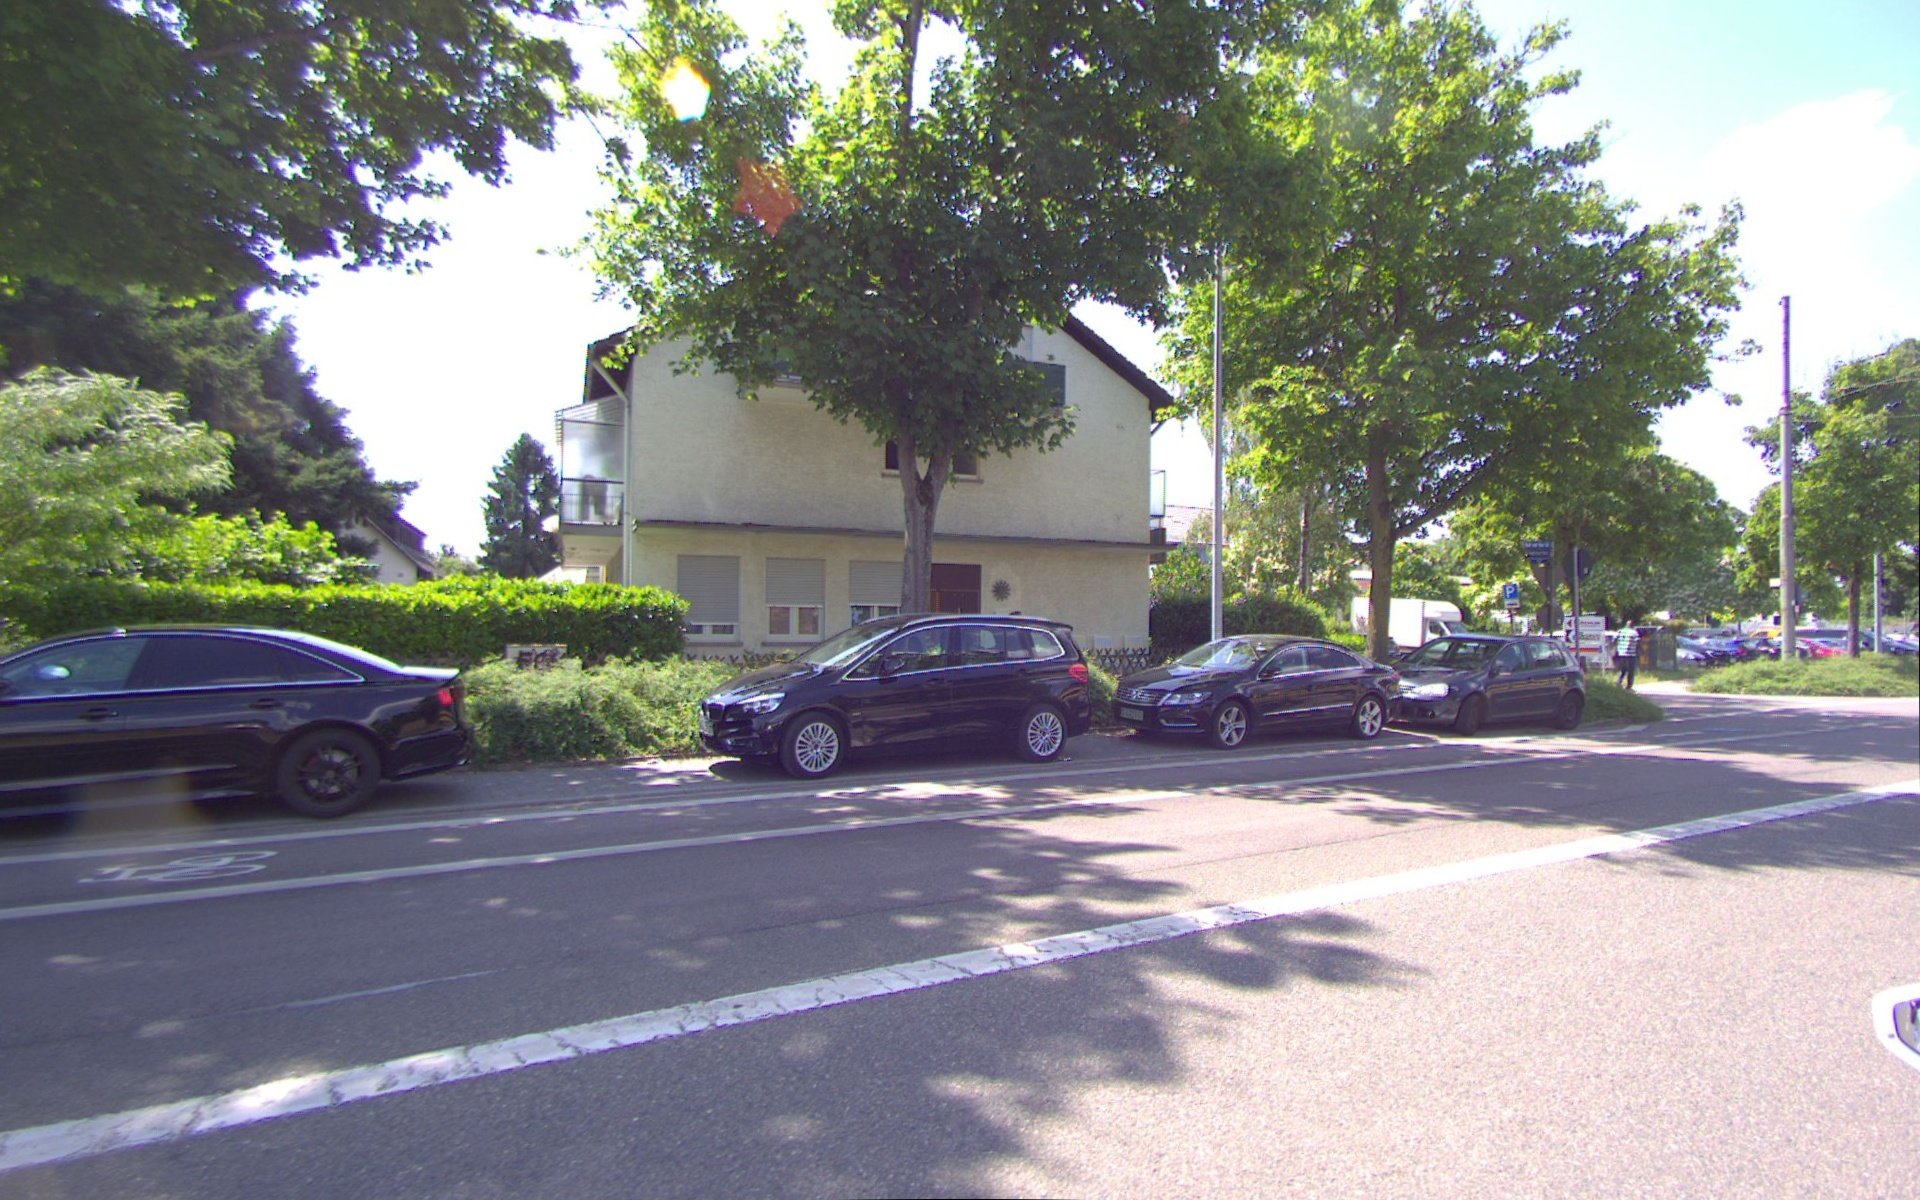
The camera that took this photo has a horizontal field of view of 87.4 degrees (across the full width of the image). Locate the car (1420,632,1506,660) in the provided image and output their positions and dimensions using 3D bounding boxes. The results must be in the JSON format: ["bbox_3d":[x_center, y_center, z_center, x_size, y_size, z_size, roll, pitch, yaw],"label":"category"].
[{"bbox_3d":[27.721,2.519,55.461,1.784,1.461,3.968,1,-1,-30],"label":"car"}]

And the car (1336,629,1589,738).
[{"bbox_3d":[8.182,1.263,16.301,4.000,1.500,1.766,1,1,-30],"label":"car"}]

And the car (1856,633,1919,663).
[{"bbox_3d":[52.958,2.674,56.143,1.784,1.628,3.968,1,-1,-30],"label":"car"}]

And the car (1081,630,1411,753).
[{"bbox_3d":[4.083,1.173,14.063,4.644,1.391,1.765,1,1,-32],"label":"car"}]

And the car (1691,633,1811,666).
[{"bbox_3d":[36.014,2.227,45.833,1.784,1.357,3.968,1,-1,-30],"label":"car"}]

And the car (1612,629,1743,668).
[{"bbox_3d":[29.133,1.954,40.898,1.784,1.461,3.968,1,-1,-30],"label":"car"}]

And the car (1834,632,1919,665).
[{"bbox_3d":[48.691,2.535,52.688,1.784,1.628,3.968,1,-1,-30],"label":"car"}]

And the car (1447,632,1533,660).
[{"bbox_3d":[29.983,2.598,56.931,1.784,1.461,3.968,1,-1,-30],"label":"car"}]

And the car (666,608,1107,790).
[{"bbox_3d":[-0.710,0.954,11.132,4.585,1.625,1.765,1,0,-32],"label":"car"}]

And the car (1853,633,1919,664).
[{"bbox_3d":[51.327,2.618,54.495,1.784,1.628,3.968,1,-1,-30],"label":"car"}]

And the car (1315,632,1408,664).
[{"bbox_3d":[19.319,2.300,48.501,1.753,1.417,3.967,1,-2,-31],"label":"car"}]

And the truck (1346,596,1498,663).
[{"bbox_3d":[23.966,1.515,52.491,2.306,3.270,7.149,1,-1,-31],"label":"truck"}]

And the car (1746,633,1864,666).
[{"bbox_3d":[40.259,2.336,47.937,1.784,1.461,3.968,1,-2,-30],"label":"car"}]

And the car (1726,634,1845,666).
[{"bbox_3d":[38.378,2.316,46.788,1.784,1.357,3.968,1,-1,-30],"label":"car"}]

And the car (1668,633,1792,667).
[{"bbox_3d":[33.886,2.162,44.301,1.784,1.357,3.968,1,-1,-30],"label":"car"}]

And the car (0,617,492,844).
[{"bbox_3d":[-6.290,0.885,7.683,4.751,1.475,1.765,1,-1,-32],"label":"car"}]

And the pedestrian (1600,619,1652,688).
[{"bbox_3d":[18.298,1.456,27.620,0.786,1.847,0.969,1,-1,-32],"label":"pedestrian"}]

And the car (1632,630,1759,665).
[{"bbox_3d":[31.004,1.975,42.450,1.784,1.357,3.968,1,-1,-30],"label":"car"}]

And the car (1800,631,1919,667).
[{"bbox_3d":[43.471,2.342,48.602,1.784,1.628,3.968,1,-1,-30],"label":"car"}]

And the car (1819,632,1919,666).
[{"bbox_3d":[46.735,2.457,51.324,1.784,1.628,3.968,1,-1,-30],"label":"car"}]
